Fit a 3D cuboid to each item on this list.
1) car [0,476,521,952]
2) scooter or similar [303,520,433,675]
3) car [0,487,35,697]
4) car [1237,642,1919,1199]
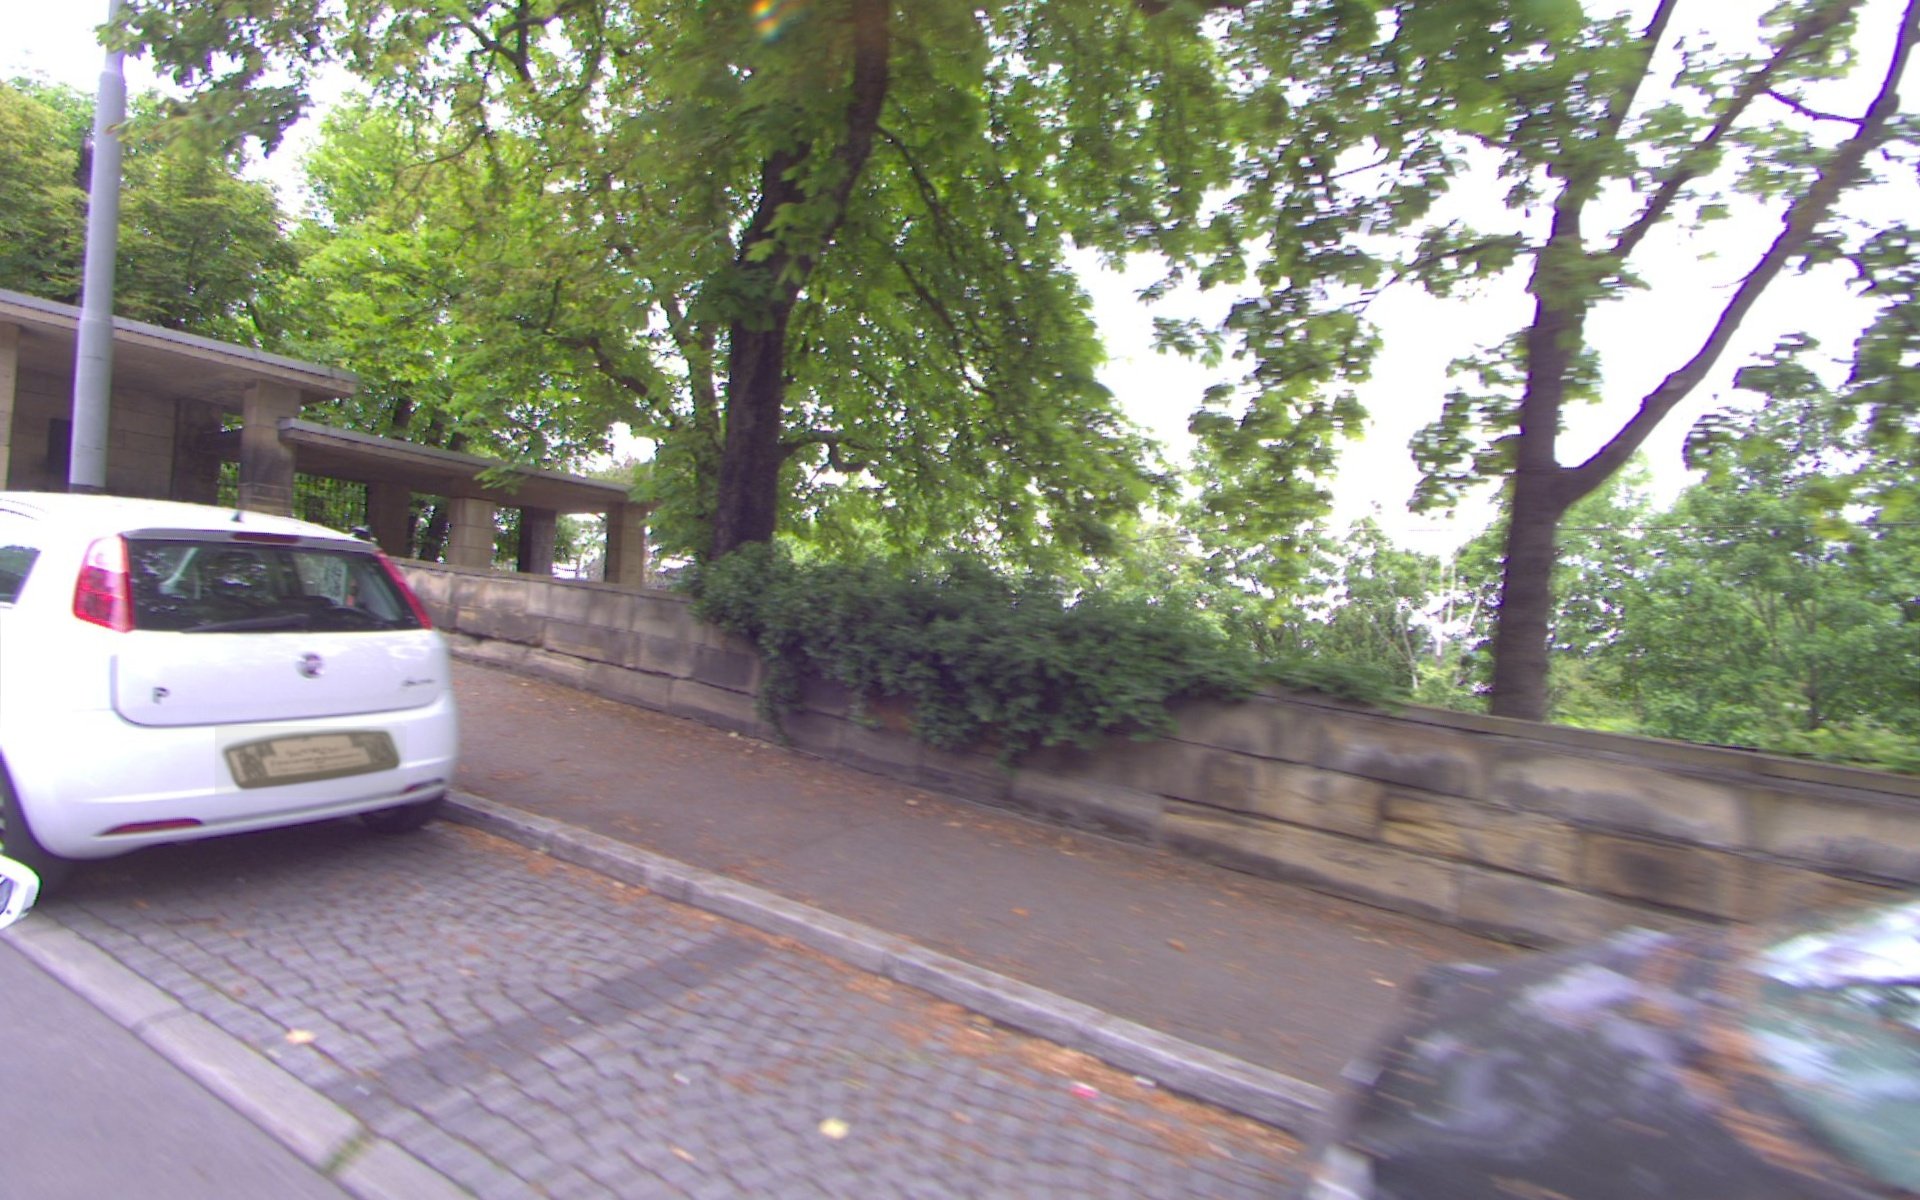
[{"bbox_3d":[-4.228,0.198,4.927,3.969,1.492,1.715,7,3,29],"label":"car"},{"bbox_3d":[-5.413,-0.036,9.180,1.149,1.277,0.516,7,3,34],"label":"scooter or similar"},{"bbox_3d":[-8.910,-0.281,7.545,4.292,1.480,1.677,6,1,30],"label":"car"},{"bbox_3d":[2.192,0.957,1.116,3.367,1.441,1.561,6,2,31],"label":"car"}]
